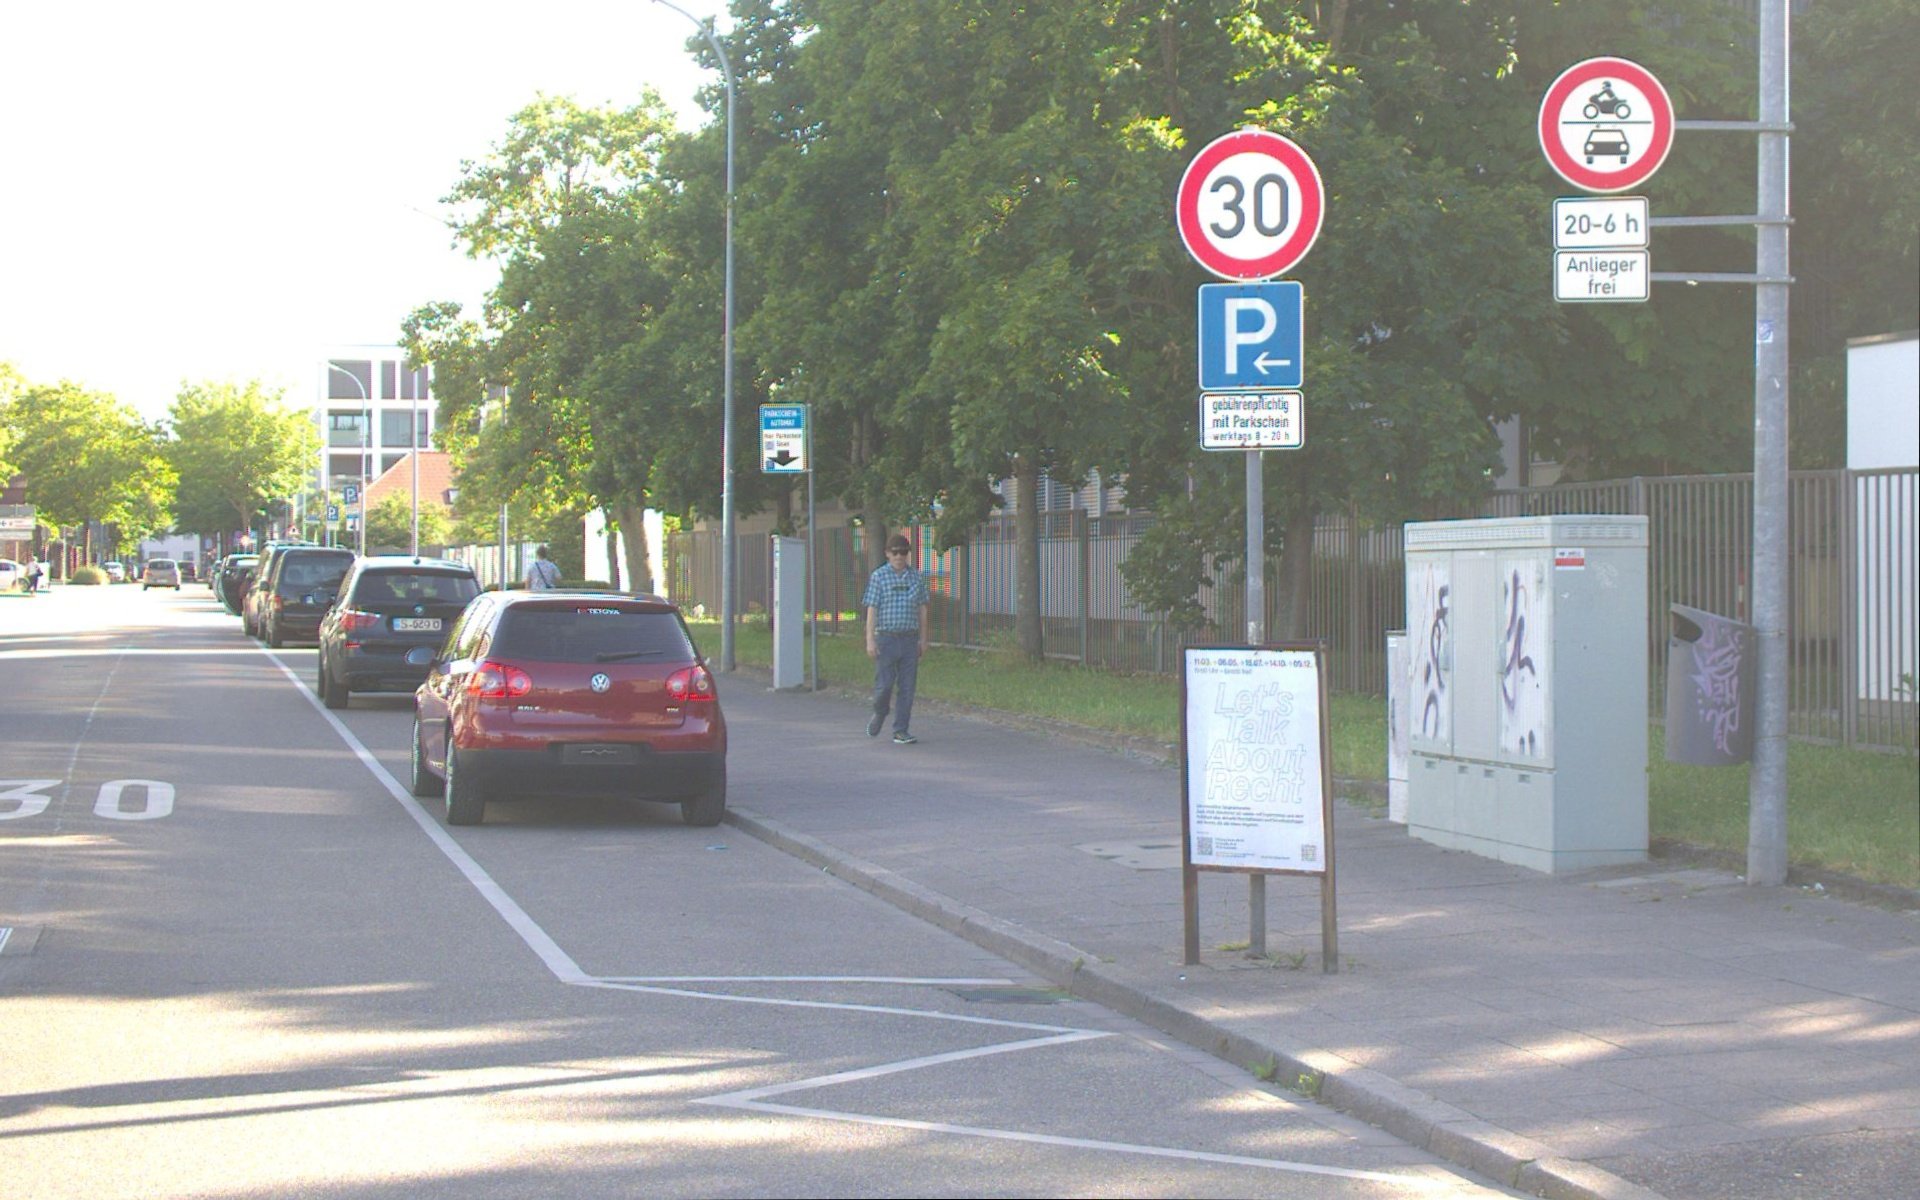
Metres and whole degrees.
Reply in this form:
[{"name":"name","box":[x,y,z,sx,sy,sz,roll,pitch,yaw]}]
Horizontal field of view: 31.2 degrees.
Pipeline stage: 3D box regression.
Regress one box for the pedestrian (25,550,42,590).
[{"name":"pedestrian","box":[-37.462,-1.203,139.046,0.618,1.618,0.716,-1,1,-13]}]

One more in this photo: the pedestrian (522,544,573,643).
[{"name":"pedestrian","box":[-7.018,-0.116,58.470,0.698,1.655,0.752,-3,1,-13]}]

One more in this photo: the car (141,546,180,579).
[{"name":"car","box":[-37.504,-1.762,161.362,1.743,1.538,4.001,1,1,-13]}]

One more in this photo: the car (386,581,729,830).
[{"name":"car","box":[-2.804,0.635,23.071,1.719,1.450,4.653,1,0,-13]}]

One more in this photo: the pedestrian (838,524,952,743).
[{"name":"pedestrian","box":[-0.541,0.260,28.369,0.717,1.752,0.885,-2,1,-12]}]

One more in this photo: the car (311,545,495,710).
[{"name":"car","box":[-6.330,0.265,38.721,1.811,1.660,4.594,1,1,-12]}]

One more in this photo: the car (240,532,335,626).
[{"name":"car","box":[-14.745,-0.471,75.220,1.874,1.971,4.001,-1,1,-13]}]

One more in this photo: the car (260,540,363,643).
[{"name":"car","box":[-11.913,-0.176,63.055,1.732,1.824,3.906,0,1,-12]}]

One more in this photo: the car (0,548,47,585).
[{"name":"car","box":[-40.942,-1.420,146.300,3.986,1.514,2.000,0,-1,-12]}]

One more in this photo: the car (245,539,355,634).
[{"name":"car","box":[-13.308,-0.293,69.140,1.993,1.816,4.200,-1,1,-13]}]
